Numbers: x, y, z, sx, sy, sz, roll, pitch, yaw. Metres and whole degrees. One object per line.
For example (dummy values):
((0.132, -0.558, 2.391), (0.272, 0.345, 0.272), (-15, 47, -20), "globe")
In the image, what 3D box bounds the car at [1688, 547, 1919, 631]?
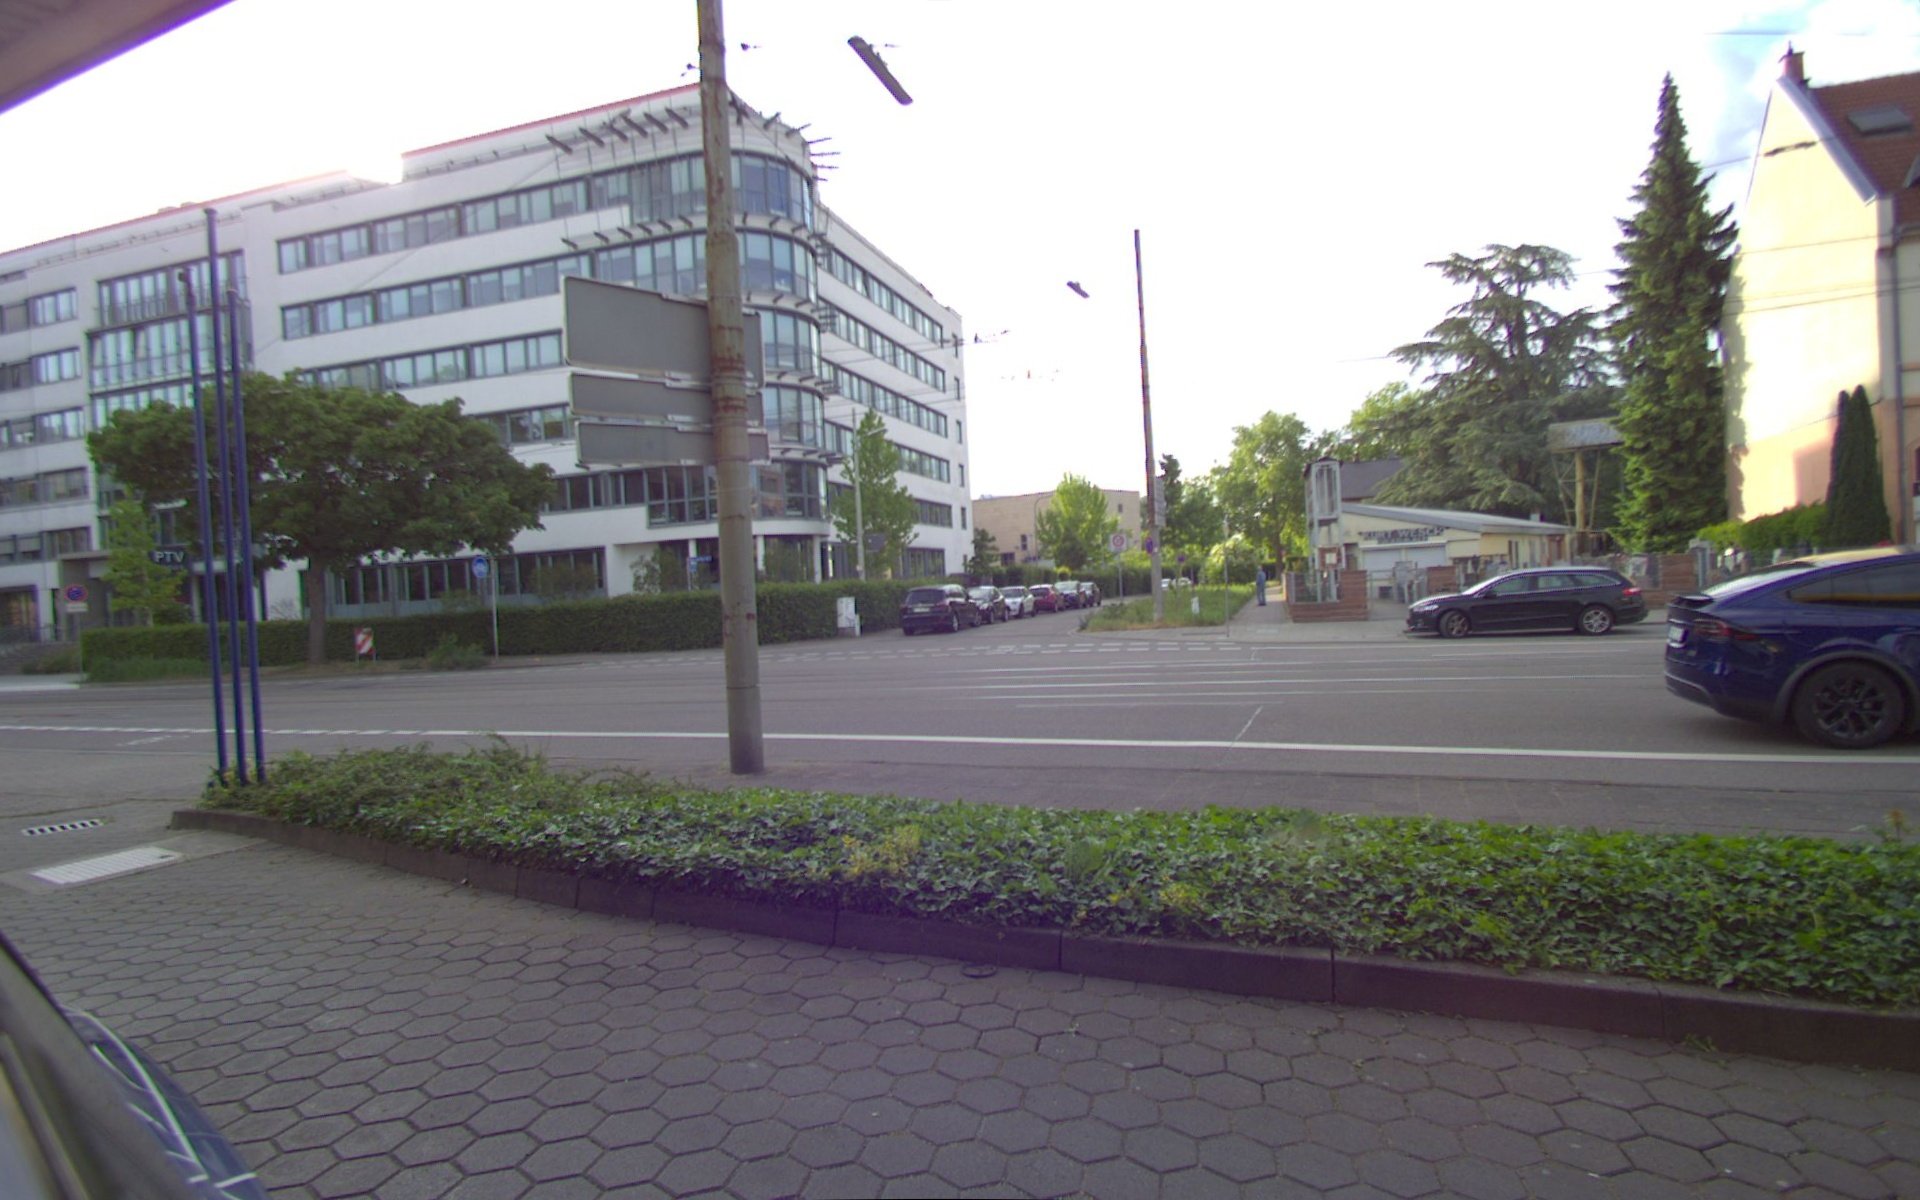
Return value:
((18.492, -0.256, 21.493), (4.459, 1.486, 1.986), (-4, 0, 22), "car")

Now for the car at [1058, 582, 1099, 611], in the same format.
((7.373, -0.230, 62.666), (1.773, 1.653, 4.064), (-4, 0, 17), "car")

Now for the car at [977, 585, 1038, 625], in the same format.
((2.206, 0.178, 45.750), (1.773, 1.565, 4.083), (-4, 0, 17), "car")

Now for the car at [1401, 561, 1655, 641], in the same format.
((12.916, 0.045, 23.410), (4.791, 1.507, 1.986), (-3, 0, 22), "car")

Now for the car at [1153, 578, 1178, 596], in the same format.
((20.427, -1.265, 100.608), (1.774, 1.653, 4.060), (-4, 0, 19), "car")

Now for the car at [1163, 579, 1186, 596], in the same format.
((22.565, -1.293, 106.306), (1.774, 1.653, 4.060), (-4, 0, 19), "car")

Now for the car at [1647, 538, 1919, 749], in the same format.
((8.926, 0.284, 8.567), (4.821, 1.669, 1.756), (-3, 2, 24), "car")

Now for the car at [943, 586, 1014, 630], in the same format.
((0.798, 0.291, 40.889), (1.773, 1.565, 4.083), (-4, 0, 17), "car")

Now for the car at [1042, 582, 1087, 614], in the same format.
((5.982, -0.133, 57.656), (1.773, 1.653, 4.064), (-4, 0, 17), "car")

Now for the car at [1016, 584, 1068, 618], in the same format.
((4.287, 0.026, 52.355), (1.773, 1.552, 4.018), (-4, 0, 17), "car")

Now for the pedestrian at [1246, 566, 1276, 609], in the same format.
((13.075, -0.532, 43.922), (1.002, 1.843, 1.081), (-1, 0, 31), "pedestrian")

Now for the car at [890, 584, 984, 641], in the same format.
((-0.722, 0.383, 35.531), (1.962, 1.625, 4.411), (-4, 2, 17), "car")
